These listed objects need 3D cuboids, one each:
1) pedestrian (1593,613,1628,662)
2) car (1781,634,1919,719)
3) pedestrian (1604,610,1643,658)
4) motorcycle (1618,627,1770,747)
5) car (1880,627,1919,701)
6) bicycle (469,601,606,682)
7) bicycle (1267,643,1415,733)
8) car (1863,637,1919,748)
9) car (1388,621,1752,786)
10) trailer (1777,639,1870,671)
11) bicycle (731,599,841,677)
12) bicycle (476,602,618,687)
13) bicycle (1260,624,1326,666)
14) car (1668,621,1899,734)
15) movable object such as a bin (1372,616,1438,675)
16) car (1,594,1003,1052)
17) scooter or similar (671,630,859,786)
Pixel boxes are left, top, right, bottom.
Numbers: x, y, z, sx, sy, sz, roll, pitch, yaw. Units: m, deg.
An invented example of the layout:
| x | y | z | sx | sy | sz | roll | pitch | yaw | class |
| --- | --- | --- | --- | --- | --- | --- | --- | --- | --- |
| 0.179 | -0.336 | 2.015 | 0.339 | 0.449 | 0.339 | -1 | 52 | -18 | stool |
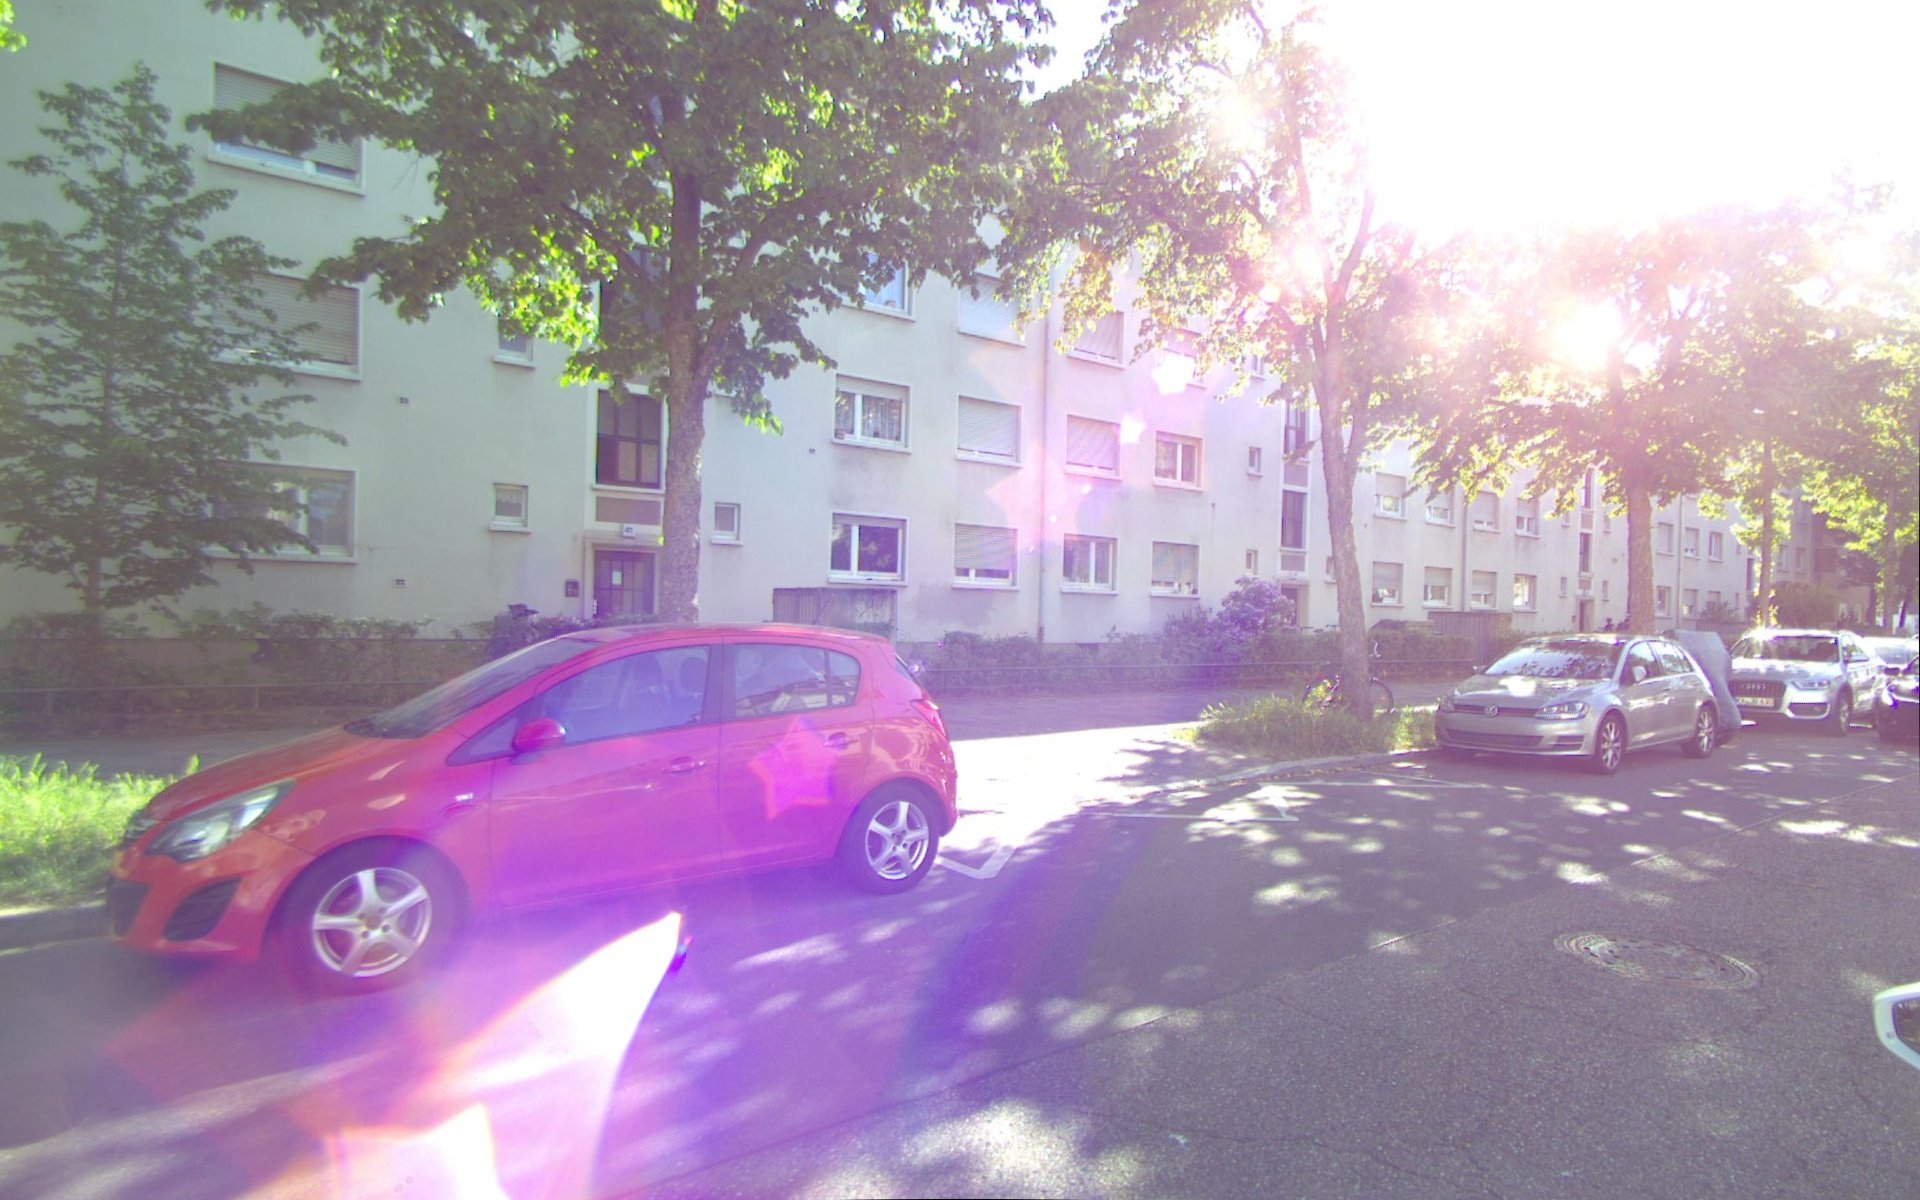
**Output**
| x | y | z | sx | sy | sz | roll | pitch | yaw | class |
| --- | --- | --- | --- | --- | --- | --- | --- | --- | --- |
| 26.218 | 1.522 | 40.504 | 0.862 | 1.939 | 0.782 | 1 | -1 | -9 | pedestrian |
| 17.694 | 1.396 | 19.426 | 4.776 | 1.466 | 1.716 | 1 | -3 | -37 | car |
| 27.058 | 1.391 | 40.958 | 1.013 | 1.913 | 0.929 | 1 | 0 | -29 | pedestrian |
| 10.285 | 1.164 | 14.195 | 0.969 | 1.523 | 2.235 | 1 | -1 | 14 | motorcycle |
| 22.967 | 1.450 | 23.227 | 4.326 | 1.639 | 1.716 | 2 | -4 | -37 | car |
| -6.648 | 0.644 | 15.855 | 1.892 | 1.217 | 0.681 | 2 | 0 | -34 | bicycle |
| 4.949 | 1.104 | 13.002 | 2.066 | 1.029 | 0.528 | 1 | 7 | -31 | bicycle |
| 14.700 | 1.283 | 14.432 | 4.326 | 1.465 | 1.796 | 2 | -2 | -37 | car |
| 7.282 | 1.071 | 11.838 | 4.560 | 1.544 | 2.029 | 2 | -1 | -35 | car |
| 31.252 | 1.977 | 36.353 | 3.247 | 1.047 | 1.778 | 2 | 0 | -34 | trailer |
| -3.001 | 0.657 | 17.452 | 1.896 | 1.306 | 0.395 | 2 | -1 | -37 | bicycle |
| -6.261 | 0.659 | 15.268 | 1.892 | 1.217 | 0.681 | 2 | 0 | -34 | bicycle |
| 8.745 | 1.164 | 26.345 | 1.920 | 1.055 | 0.780 | 2 | -1 | -41 | bicycle |
| 13.538 | 1.154 | 16.415 | 4.682 | 1.544 | 2.047 | 2 | 0 | -39 | car |
| 10.502 | 1.063 | 23.699 | 1.368 | 1.341 | 0.921 | 2 | -1 | -41 | movable object such as a bin |
| -1.968 | 0.767 | 5.251 | 4.142 | 1.489 | 1.843 | 1 | 0 | -36 | car |
| -1.613 | 0.899 | 8.486 | 1.485 | 1.251 | 0.556 | 1 | 0 | -6 | scooter or similar |
